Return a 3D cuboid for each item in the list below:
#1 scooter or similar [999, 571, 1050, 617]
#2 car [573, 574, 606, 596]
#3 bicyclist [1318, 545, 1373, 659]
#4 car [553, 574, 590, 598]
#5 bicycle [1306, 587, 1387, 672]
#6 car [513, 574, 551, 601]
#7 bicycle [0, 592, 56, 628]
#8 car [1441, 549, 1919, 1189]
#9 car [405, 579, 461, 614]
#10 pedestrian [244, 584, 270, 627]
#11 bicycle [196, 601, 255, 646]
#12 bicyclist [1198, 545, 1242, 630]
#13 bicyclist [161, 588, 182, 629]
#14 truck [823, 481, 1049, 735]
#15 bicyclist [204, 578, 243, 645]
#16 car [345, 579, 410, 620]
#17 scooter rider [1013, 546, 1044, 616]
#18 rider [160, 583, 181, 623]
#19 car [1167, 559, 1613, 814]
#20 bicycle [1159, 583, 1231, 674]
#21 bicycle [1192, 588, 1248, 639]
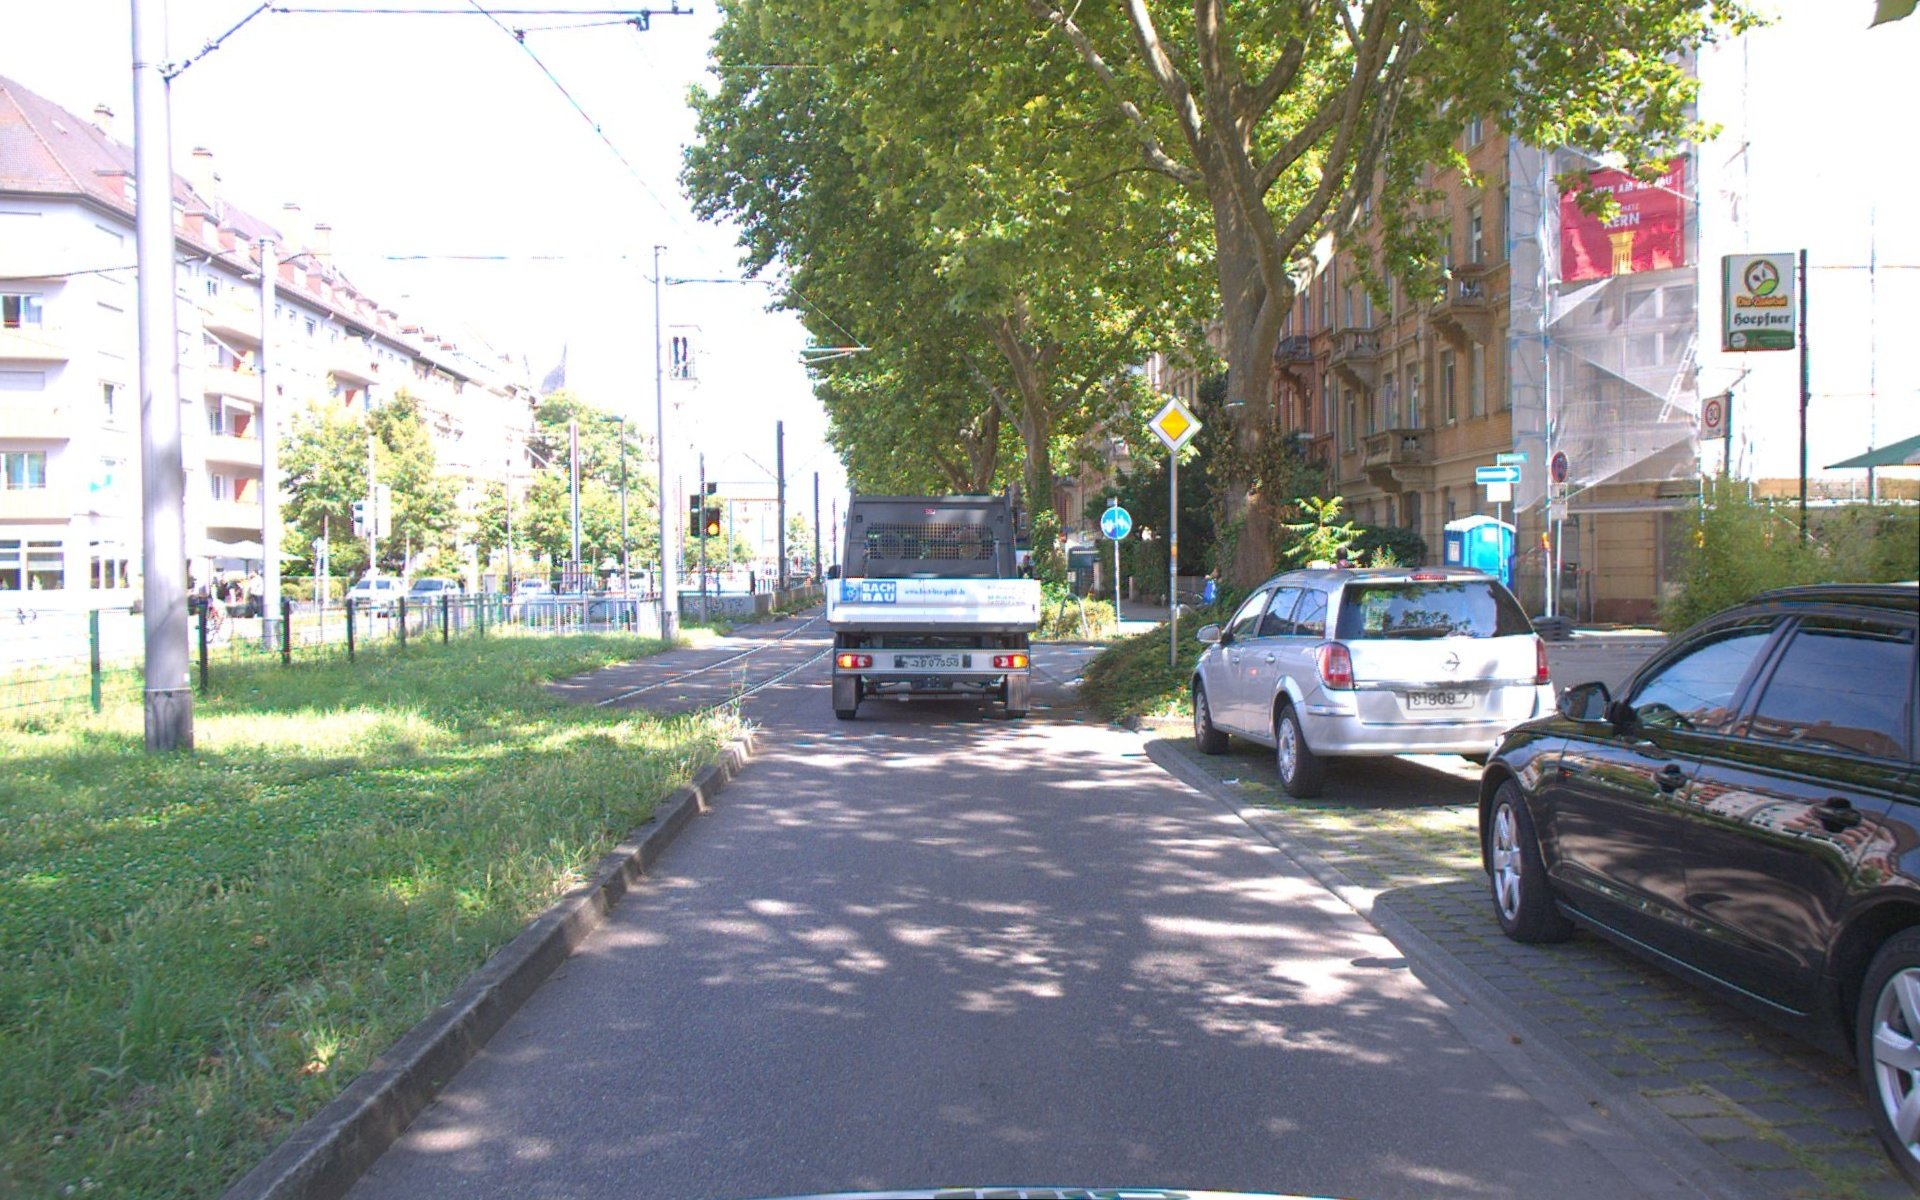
[{"bbox_3d":[1.778,-0.178,45.457,1.245,1.225,0.655,-1,1,-14],"label":"scooter or similar"},{"bbox_3d":[-26.753,-1.106,119.582,1.735,1.524,3.997,-1,1,-4],"label":"car"},{"bbox_3d":[5.533,0.024,23.773,0.625,1.601,0.579,-1,1,-1],"label":"bicyclist"},{"bbox_3d":[-26.239,-0.972,111.764,1.735,1.524,3.997,-1,1,-4],"label":"car"},{"bbox_3d":[5.542,0.394,23.837,0.554,1.131,2.310,-1,1,-1],"label":"bicycle"},{"bbox_3d":[-25.455,-0.745,98.420,1.737,1.524,3.993,-1,1,-8],"label":"car"},{"bbox_3d":[-32.635,0.341,57.666,0.893,1.157,2.805,-1,1,-6],"label":"bicycle"},{"bbox_3d":[3.148,0.607,5.143,1.796,1.534,4.642,-1,1,-2],"label":"car"},{"bbox_3d":[-24.436,-0.186,76.826,1.737,1.524,3.993,-3,1,-8],"label":"car"},{"bbox_3d":[-26.745,0.196,62.897,0.847,1.600,0.684,-1,1,-27],"label":"pedestrian"},{"bbox_3d":[-18.308,0.572,41.266,0.520,1.067,1.926,-2,1,1],"label":"bicycle"},{"bbox_3d":[4.919,-0.244,31.340,0.667,1.590,0.777,-1,1,-2],"label":"bicyclist"},{"bbox_3d":[-28.689,0.311,60.182,0.613,1.448,0.587,-1,1,-19],"label":"bicyclist"},{"bbox_3d":[-0.286,0.042,17.779,2.095,2.359,4.400,1,1,-2],"label":"truck"},{"bbox_3d":[-18.303,0.277,41.099,0.609,1.651,0.695,-1,1,2],"label":"bicyclist"},{"bbox_3d":[-24.000,-0.040,68.261,1.737,1.524,3.993,-3,1,-8],"label":"car"},{"bbox_3d":[1.872,-0.523,45.482,0.655,1.899,0.662,-1,1,-14],"label":"scooter rider"},{"bbox_3d":[-28.973,0.115,60.718,0.613,1.448,0.587,-1,1,-19],"label":"rider"},{"bbox_3d":[2.970,0.491,12.526,1.798,1.534,4.486,-1,1,-6],"label":"car"},{"bbox_3d":[3.093,0.353,21.685,0.413,1.125,1.615,-1,1,27],"label":"bicycle"},{"bbox_3d":[4.931,0.240,31.459,0.661,0.897,2.163,-1,1,-1],"label":"bicycle"}]
